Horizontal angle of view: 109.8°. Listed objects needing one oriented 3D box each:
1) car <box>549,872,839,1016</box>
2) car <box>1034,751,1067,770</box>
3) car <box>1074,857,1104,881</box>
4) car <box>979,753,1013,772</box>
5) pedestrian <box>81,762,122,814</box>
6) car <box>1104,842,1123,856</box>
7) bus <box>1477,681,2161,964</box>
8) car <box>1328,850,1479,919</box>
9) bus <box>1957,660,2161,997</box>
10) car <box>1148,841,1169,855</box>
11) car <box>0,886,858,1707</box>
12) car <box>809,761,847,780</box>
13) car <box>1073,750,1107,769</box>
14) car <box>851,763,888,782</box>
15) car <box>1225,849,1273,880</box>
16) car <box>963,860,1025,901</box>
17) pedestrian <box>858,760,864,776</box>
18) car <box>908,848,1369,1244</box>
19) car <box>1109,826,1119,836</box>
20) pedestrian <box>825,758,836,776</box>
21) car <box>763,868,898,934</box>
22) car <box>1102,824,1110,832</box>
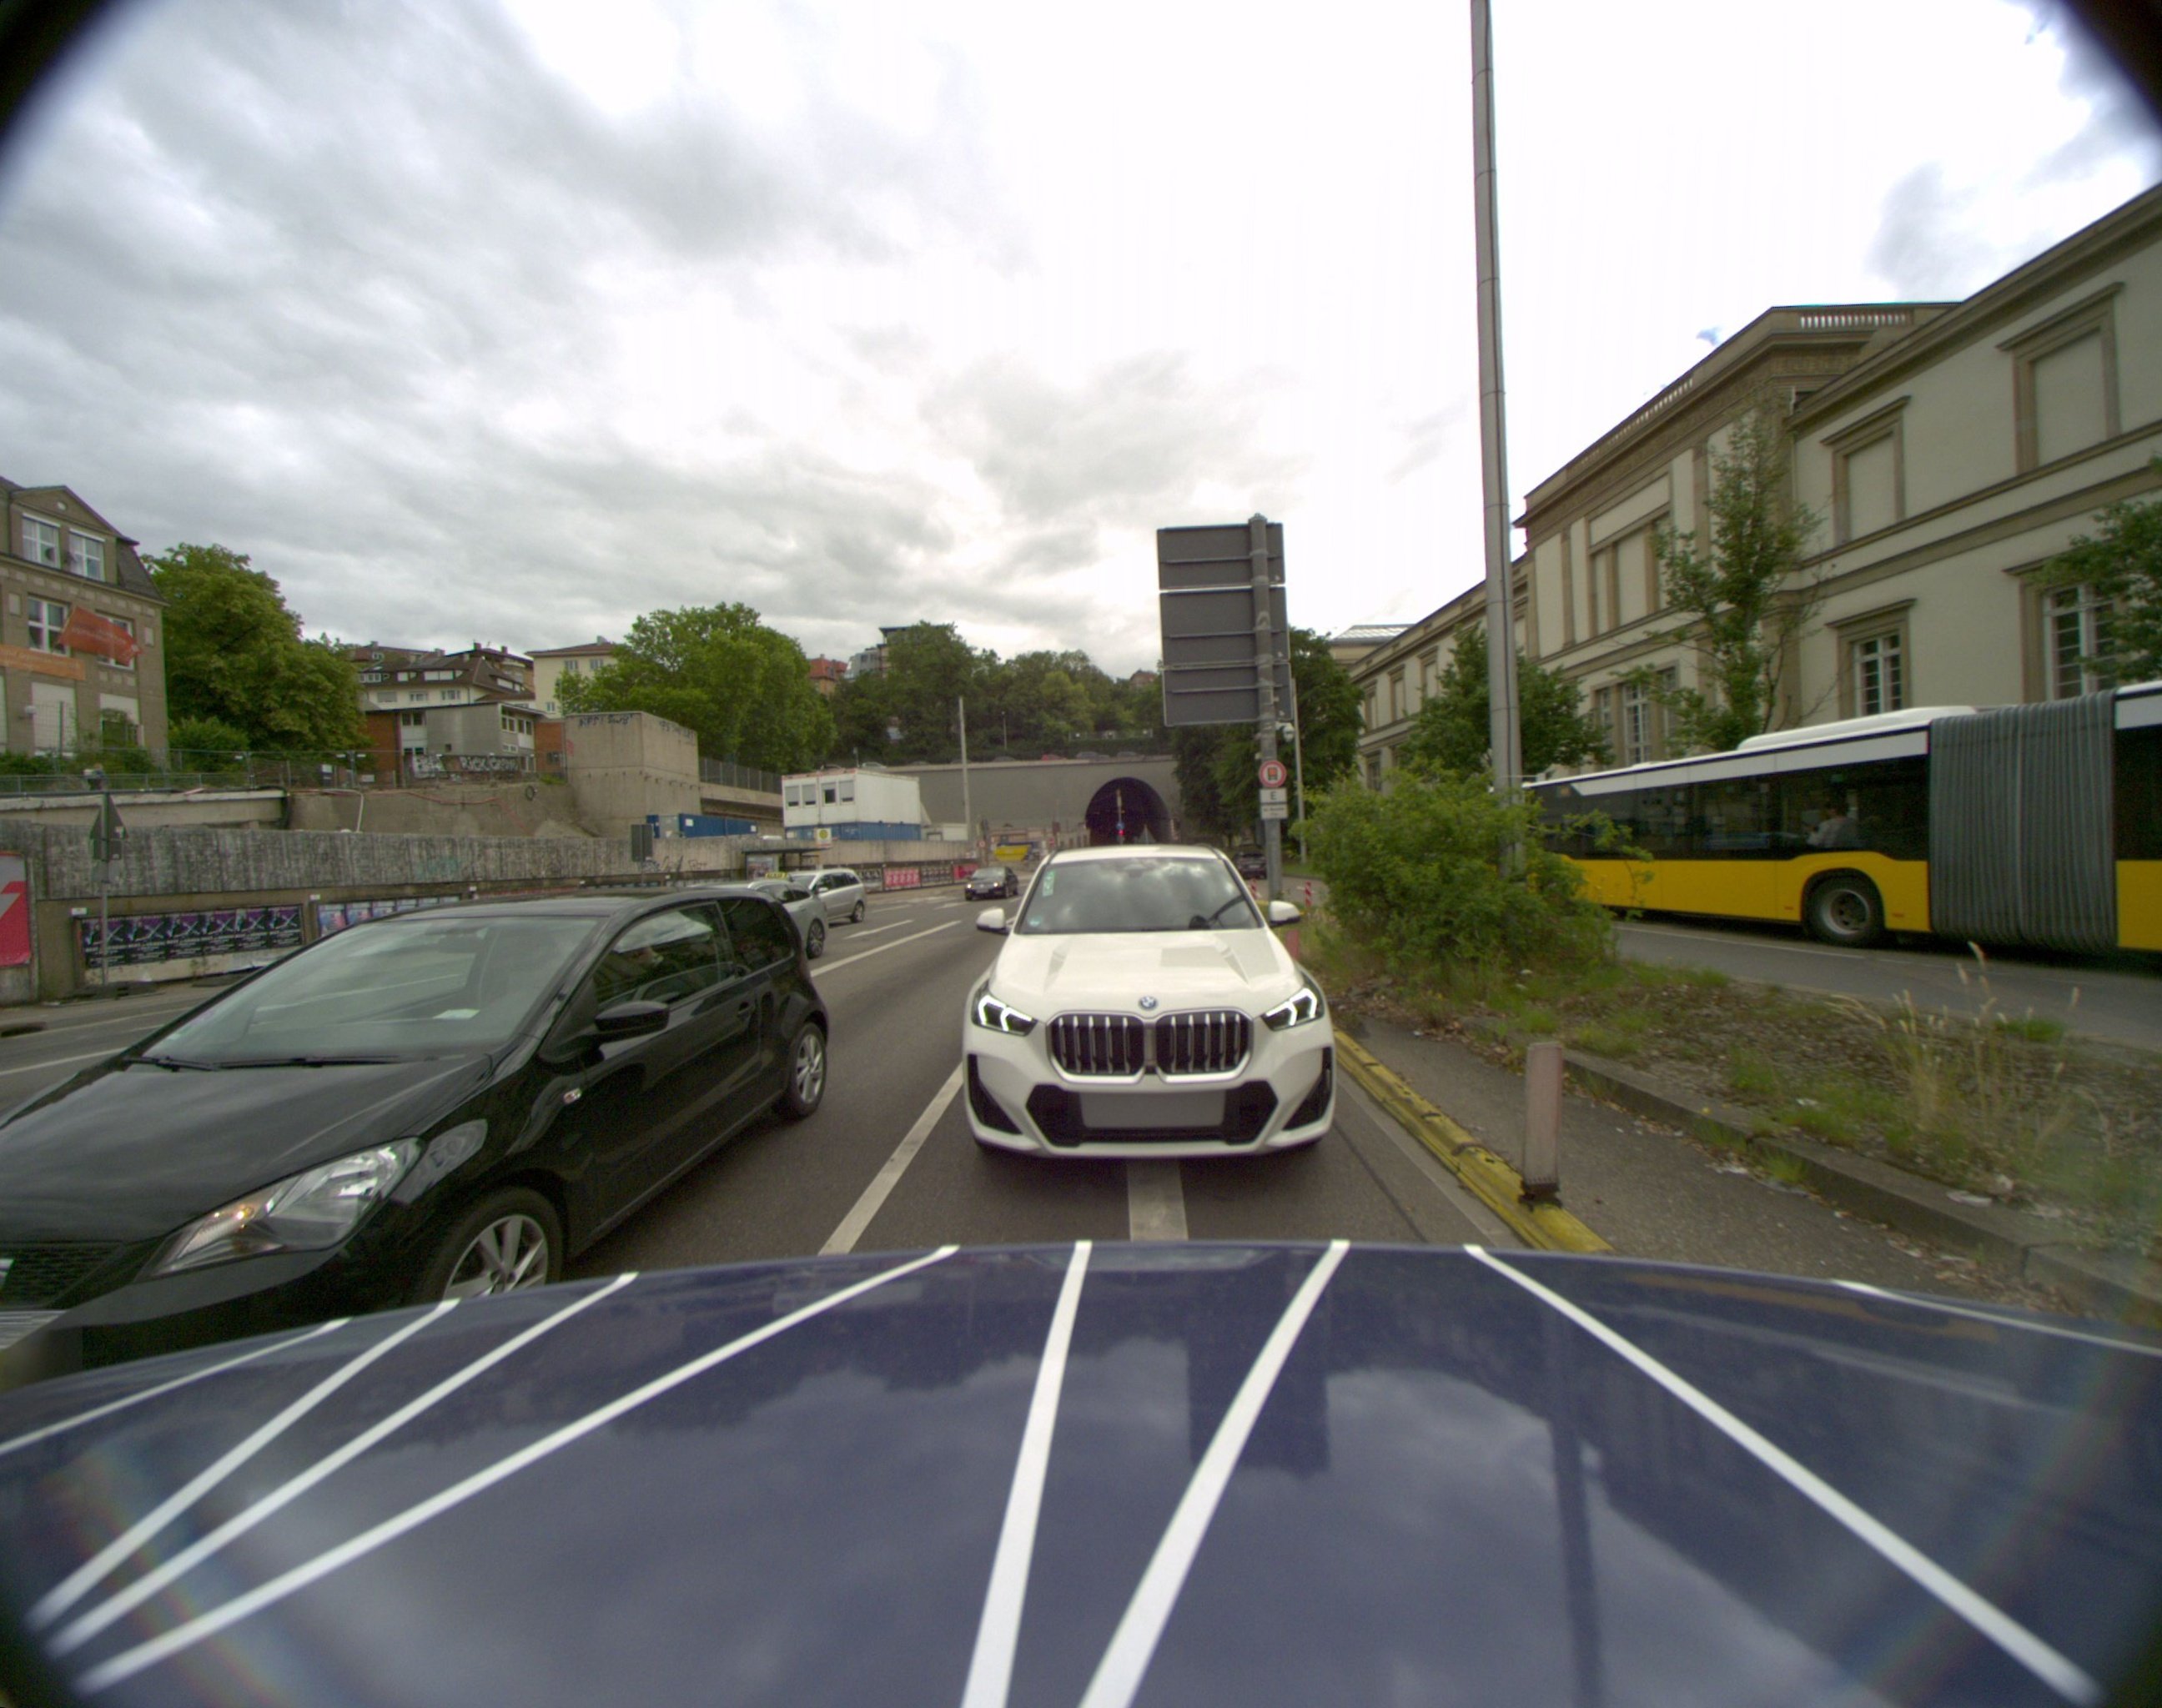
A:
[{"bbox_3d":[-5.517,1.170,11.704,1.826,1.562,4.654,-3,0,3],"label":"car"},{"bbox_3d":[-3.764,-11.615,94.402,3.998,2.002,1.999,-2,1,-2],"label":"car"},{"bbox_3d":[0.515,0.906,47.090,1.728,1.310,4.000,-3,0,1],"label":"car"},{"bbox_3d":[-10.471,-11.367,94.008,3.998,2.002,1.999,-2,1,-2],"label":"car"},{"bbox_3d":[-39.561,-2.657,30.699,0.646,2.002,0.666,-2,1,-3],"label":"pedestrian"},{"bbox_3d":[3.524,-0.514,81.777,1.730,1.435,4.001,-3,0,5],"label":"car"},{"bbox_3d":[11.181,-0.368,13.475,2.853,3.096,9.746,-3,0,-2],"label":"bus"},{"bbox_3d":[7.871,0.660,19.091,1.705,1.463,4.629,-3,0,-1],"label":"car"},{"bbox_3d":[11.375,-0.285,4.013,2.853,3.096,9.121,-3,0,-1],"label":"bus"},{"bbox_3d":[8.322,-0.648,81.893,1.711,1.505,4.287,0,0,-3],"label":"car"},{"bbox_3d":[-2.501,1.011,3.407,1.667,1.487,3.882,-3,0,2],"label":"car"},{"bbox_3d":[-31.051,-10.225,93.312,3.998,2.002,1.999,-2,1,-5],"label":"car"},{"bbox_3d":[1.114,-11.794,94.486,3.998,2.002,1.999,-2,1,-2],"label":"car"},{"bbox_3d":[-26.002,-10.038,93.375,3.998,2.002,1.999,-2,1,-5],"label":"car"},{"bbox_3d":[9.355,0.530,42.527,1.701,1.580,3.882,-3,0,-1],"label":"car"},{"bbox_3d":[-3.787,1.126,33.758,1.704,1.550,4.552,-3,0,6],"label":"car"},{"bbox_3d":[-27.816,-10.890,96.097,0.581,2.002,0.577,-2,1,-3],"label":"pedestrian"},{"bbox_3d":[0.300,0.807,5.118,1.848,1.581,3.882,-3,0,2],"label":"car"},{"bbox_3d":[6.192,-4.311,142.927,1.667,1.582,3.882,-1,0,2],"label":"car"},{"bbox_3d":[-29.813,-10.403,90.423,0.851,2.002,0.905,-3,1,-3],"label":"pedestrian"},{"bbox_3d":[-7.133,1.282,22.230,1.703,1.550,4.554,-3,0,10],"label":"car"},{"bbox_3d":[5.491,-5.813,168.599,1.667,1.582,3.882,-1,0,2],"label":"car"}]
